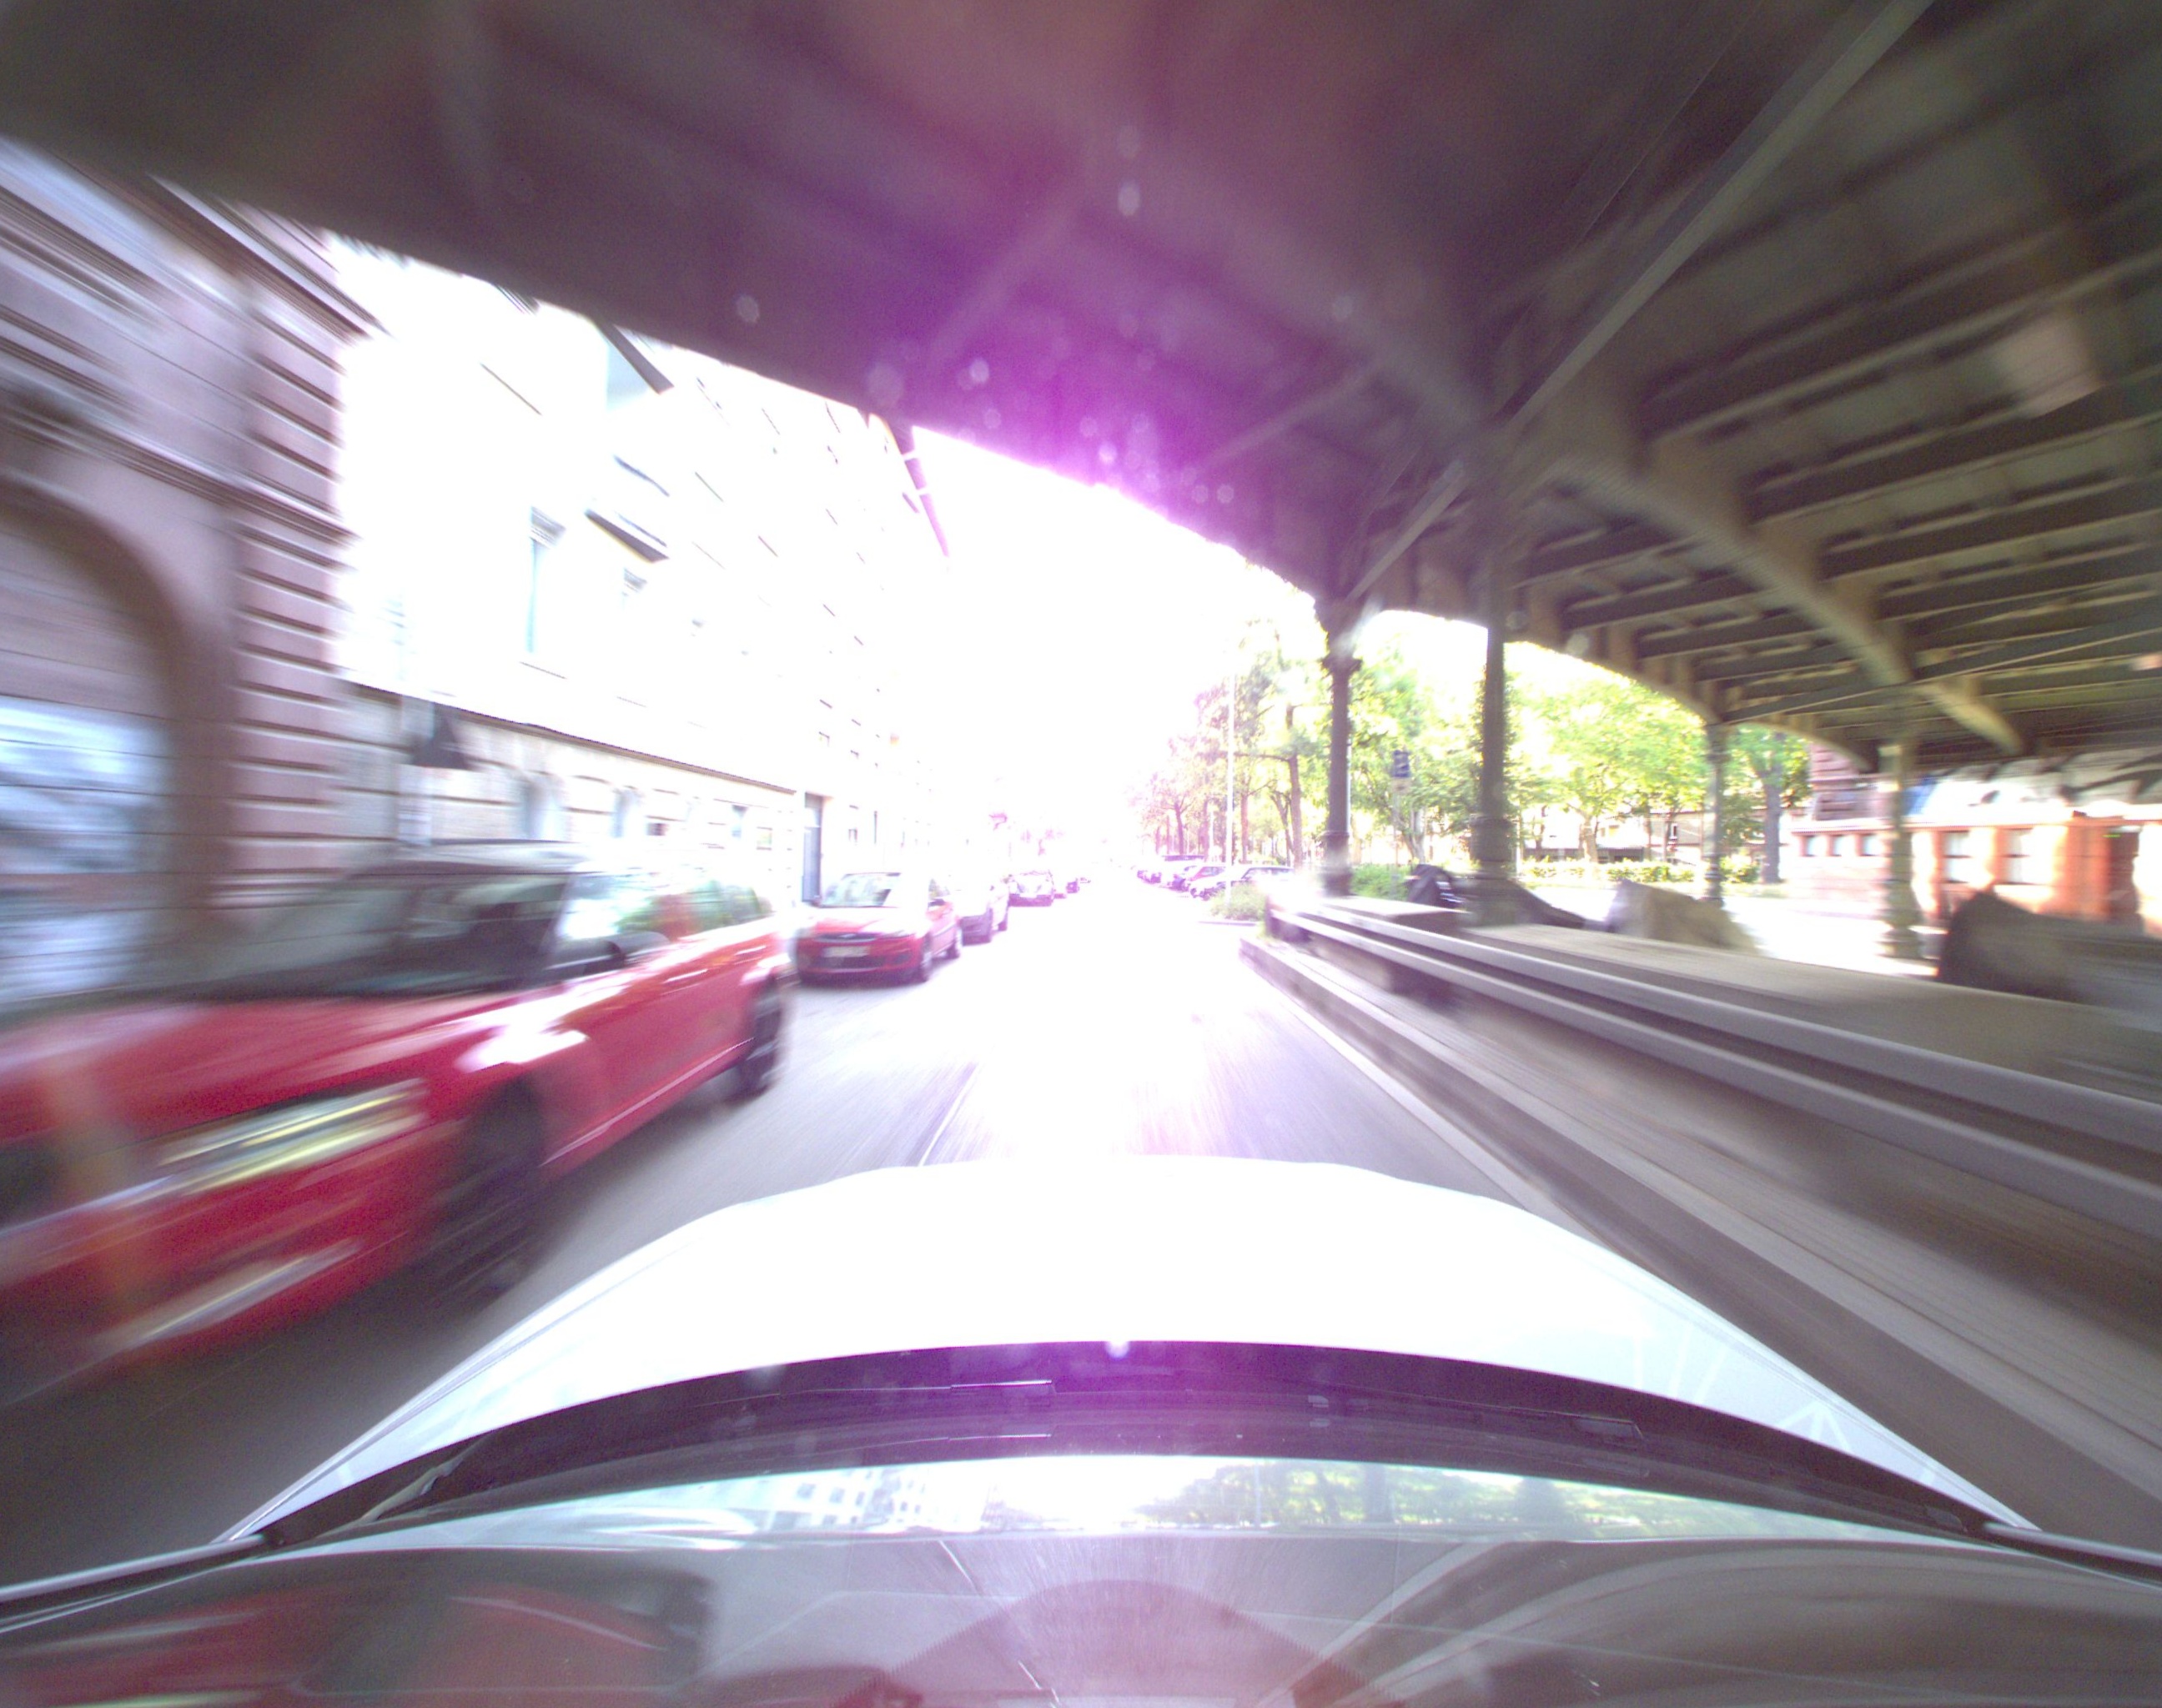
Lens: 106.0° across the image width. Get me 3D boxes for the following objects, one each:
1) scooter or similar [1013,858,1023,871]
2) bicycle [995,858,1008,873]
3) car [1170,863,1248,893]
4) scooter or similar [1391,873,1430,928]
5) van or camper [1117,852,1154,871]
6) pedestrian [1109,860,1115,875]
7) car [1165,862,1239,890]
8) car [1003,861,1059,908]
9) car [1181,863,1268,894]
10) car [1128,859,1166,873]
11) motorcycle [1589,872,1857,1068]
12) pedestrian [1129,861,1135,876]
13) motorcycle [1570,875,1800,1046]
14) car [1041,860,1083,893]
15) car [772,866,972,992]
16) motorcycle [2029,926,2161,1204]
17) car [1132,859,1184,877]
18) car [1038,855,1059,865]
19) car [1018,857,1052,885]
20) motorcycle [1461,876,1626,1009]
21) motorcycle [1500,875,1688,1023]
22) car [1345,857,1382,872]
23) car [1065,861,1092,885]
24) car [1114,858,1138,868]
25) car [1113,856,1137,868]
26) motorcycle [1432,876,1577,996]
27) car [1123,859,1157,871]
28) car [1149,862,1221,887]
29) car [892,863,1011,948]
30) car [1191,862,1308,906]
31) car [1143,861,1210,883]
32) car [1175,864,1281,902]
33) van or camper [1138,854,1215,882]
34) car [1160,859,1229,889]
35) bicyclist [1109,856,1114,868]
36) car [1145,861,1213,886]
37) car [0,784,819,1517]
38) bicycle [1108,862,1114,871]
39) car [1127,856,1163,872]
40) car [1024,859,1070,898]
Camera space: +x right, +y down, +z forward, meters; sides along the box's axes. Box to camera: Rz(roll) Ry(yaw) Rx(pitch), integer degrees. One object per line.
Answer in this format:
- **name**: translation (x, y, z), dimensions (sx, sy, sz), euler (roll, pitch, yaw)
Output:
- **scooter or similar**: translation (-6.575, 1.125, 85.380), dimensions (0.780, 1.222, 2.704), euler (2, -2, 1)
- **bicycle**: translation (-6.572, 0.929, 67.361), dimensions (0.734, 1.206, 2.515), euler (2, 0, 2)
- **car**: translation (6.359, 1.203, 40.801), dimensions (3.763, 1.447, 1.667), euler (0, -2, 6)
- **scooter or similar**: translation (8.056, 1.122, 19.968), dimensions (0.475, 1.298, 1.326), euler (2, -2, 4)
- **van or camper**: translation (7.566, 1.010, 113.444), dimensions (4.967, 2.377, 2.183), euler (2, -2, -1)
- **pedestrian**: translation (3.309, 1.433, 86.929), dimensions (0.377, 1.584, 0.521), euler (1, 2, 20)
- **car**: translation (6.442, 1.186, 43.613), dimensions (3.766, 1.474, 1.665), euler (0, -2, 3)
- **car**: translation (-1.682, 1.011, 28.466), dimensions (1.560, 1.517, 3.784), euler (1, -1, 3)
- **car**: translation (6.712, 1.155, 38.401), dimensions (3.773, 1.401, 1.764), euler (0, -2, -3)
- **car**: translation (7.399, 1.328, 90.991), dimensions (4.070, 1.442, 1.760), euler (-1, 0, -2)
- **motorcycle**: translation (5.188, 0.889, 6.699), dimensions (1.586, 1.408, 0.716), euler (1, -2, 21)
- **pedestrian**: translation (5.212, 1.496, 83.147), dimensions (0.377, 1.516, 0.521), euler (1, 2, 20)
- **motorcycle**: translation (5.558, 0.933, 7.606), dimensions (1.586, 1.408, 0.716), euler (1, -2, 21)
- **car**: translation (-0.866, 1.014, 38.550), dimensions (1.732, 1.479, 4.002), euler (0, 0, 2)
- **car**: translation (-2.710, 0.905, 11.529), dimensions (1.683, 1.441, 4.001), euler (1, -1, 1)
- **motorcycle**: translation (5.290, 0.932, 3.683), dimensions (1.603, 1.132, 0.708), euler (3, -2, -16)
- **car**: translation (6.713, 1.216, 71.290), dimensions (4.385, 1.591, 1.837), euler (0, -1, 0)
- **car**: translation (-6.434, 1.126, 160.184), dimensions (3.972, 1.706, 2.000), euler (2, -2, 1)
- **car**: translation (-2.748, 1.016, 49.353), dimensions (1.663, 1.508, 4.000), euler (4, 0, 1)
- **motorcycle**: translation (5.378, 0.991, 9.577), dimensions (1.586, 1.408, 0.716), euler (1, -2, 21)
- **motorcycle**: translation (5.419, 0.964, 8.708), dimensions (1.586, 1.408, 0.716), euler (1, -2, 21)
- **car**: translation (36.014, 1.357, 103.778), dimensions (3.973, 1.684, 2.000), euler (2, -2, 0)
- **car**: translation (-0.116, 1.244, 55.252), dimensions (1.662, 1.430, 4.002), euler (-1, 1, 1)
- **car**: translation (7.794, 1.534, 141.051), dimensions (3.977, 1.563, 1.857), euler (2, -2, -2)
- **car**: translation (7.749, 1.433, 143.724), dimensions (3.977, 1.794, 1.857), euler (2, -2, -2)
- **motorcycle**: translation (5.453, 1.027, 10.588), dimensions (1.586, 1.408, 0.716), euler (1, -2, 21)
- **car**: translation (7.287, 1.366, 100.907), dimensions (4.200, 1.453, 1.651), euler (-1, 0, 4)
- **car**: translation (6.473, 1.286, 50.972), dimensions (4.377, 1.577, 1.666), euler (0, -2, 5)
- **car**: translation (-2.482, 0.937, 16.527), dimensions (1.631, 1.466, 4.001), euler (-2, -1, 1)
- **car**: translation (5.912, 1.055, 28.781), dimensions (3.773, 1.472, 1.633), euler (0, -2, -3)
- **car**: translation (6.533, 1.259, 55.927), dimensions (4.388, 1.501, 1.836), euler (0, -2, -2)
- **car**: translation (5.554, 1.111, 31.102), dimensions (3.768, 1.401, 1.828), euler (0, -2, 1)
- **van or camper**: translation (6.844, 0.994, 58.887), dimensions (5.391, 2.027, 2.031), euler (0, 0, 3)
- **car**: translation (6.402, 1.151, 46.249), dimensions (3.768, 1.646, 1.664), euler (0, -2, 1)
- **bicyclist**: translation (4.050, 1.129, 109.274), dimensions (0.625, 1.573, 0.802), euler (2, -2, -1)
- **car**: translation (6.448, 1.290, 53.860), dimensions (4.381, 1.577, 1.665), euler (0, -2, 3)
- **car**: translation (-2.842, 0.718, 4.061), dimensions (1.712, 1.708, 4.320), euler (0, -1, -1)
- **bicycle**: translation (4.031, 1.675, 109.288), dimensions (0.639, 1.100, 1.943), euler (2, -2, 0)
- **car**: translation (7.526, 1.148, 96.458), dimensions (4.204, 1.864, 1.762), euler (-1, 0, 1)
- **car**: translation (-1.354, 0.972, 33.683), dimensions (1.697, 1.525, 3.773), euler (1, -1, 0)
